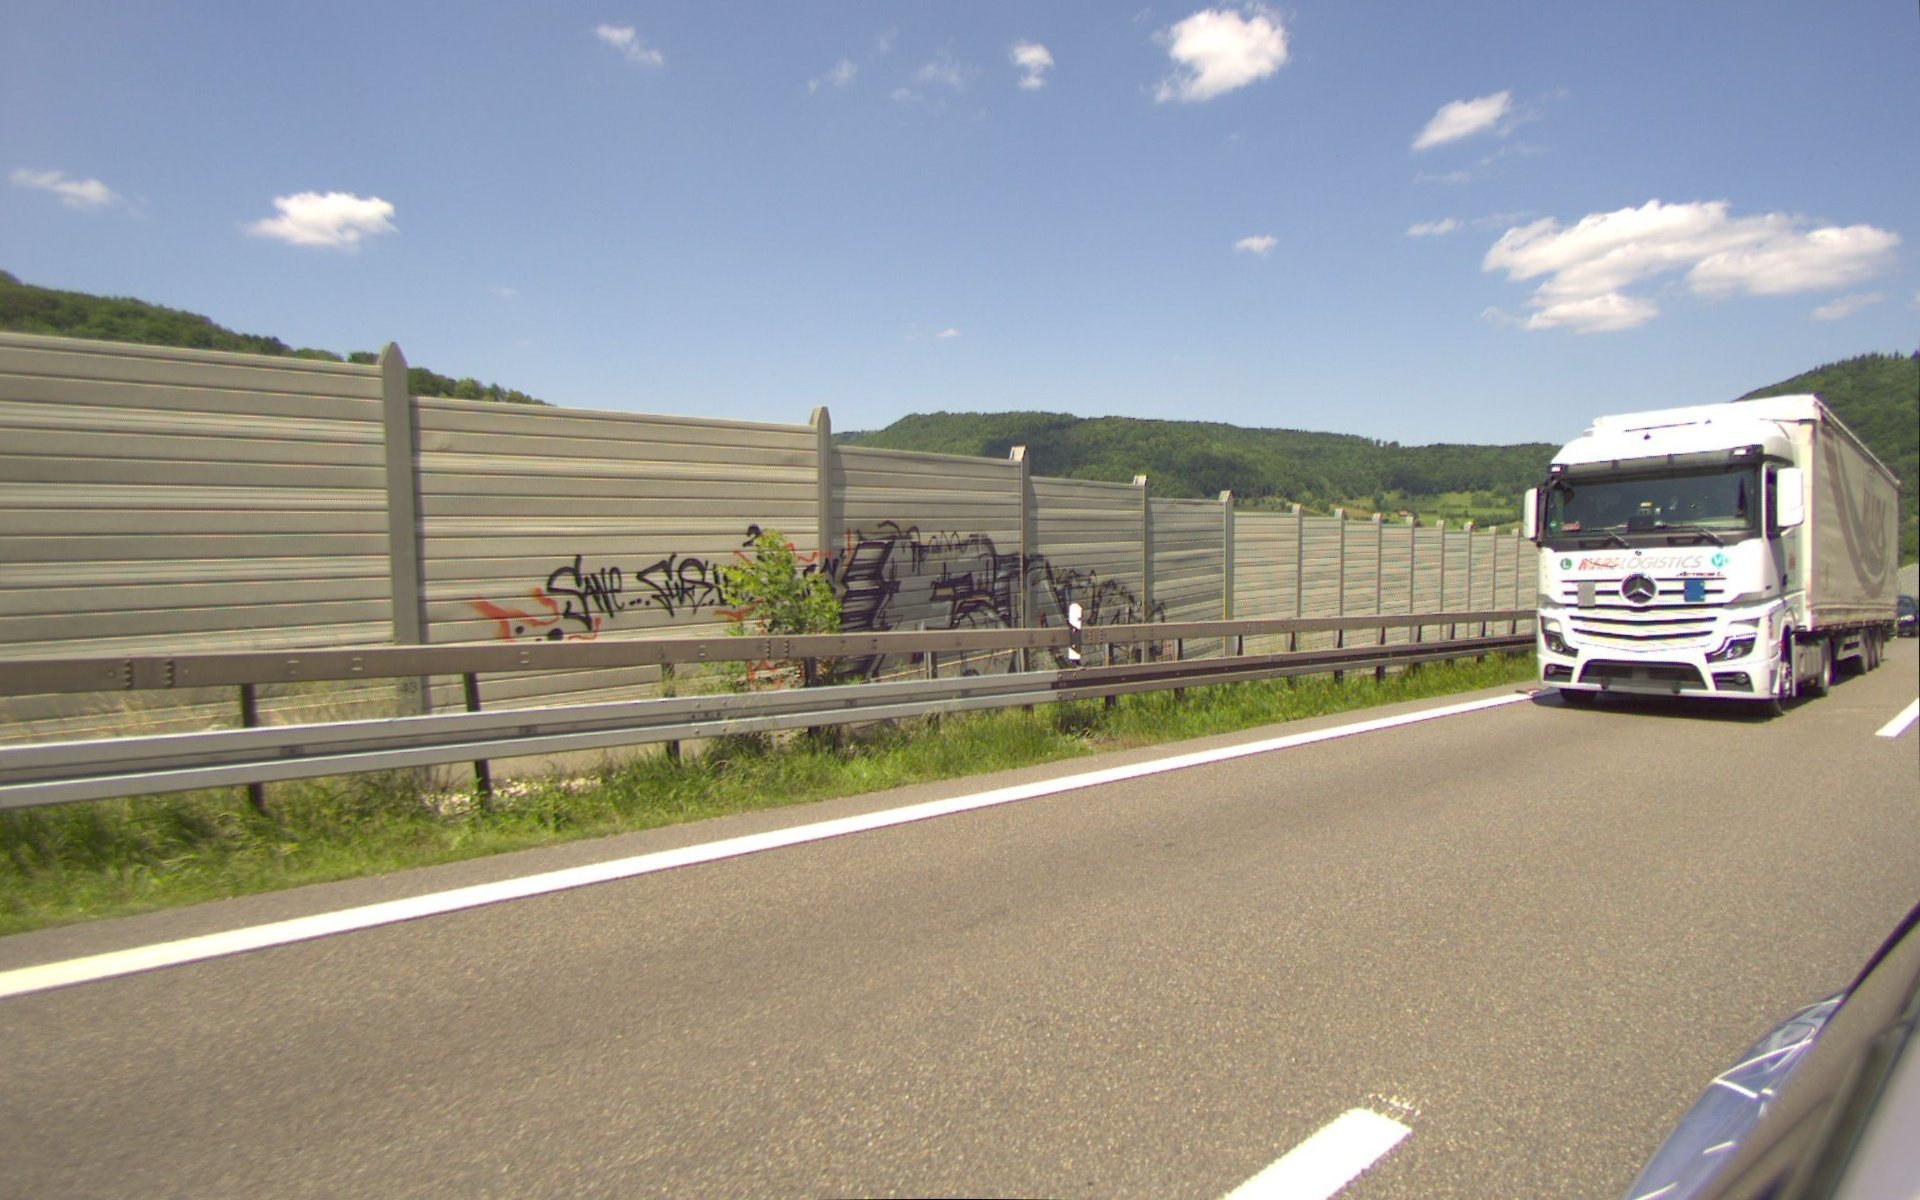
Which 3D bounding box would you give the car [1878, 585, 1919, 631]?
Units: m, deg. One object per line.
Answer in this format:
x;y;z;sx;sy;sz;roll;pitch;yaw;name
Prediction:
32.746;0.272;34.593;3.416;1.430;1.661;-2;4;-43;car

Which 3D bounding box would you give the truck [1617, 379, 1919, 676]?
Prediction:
15.960;-1.096;19.357;11.843;4.200;2.858;-1;1;-43;truck

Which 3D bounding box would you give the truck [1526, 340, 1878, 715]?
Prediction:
10.755;-0.898;14.379;6.709;4.088;2.761;-1;2;-43;truck
